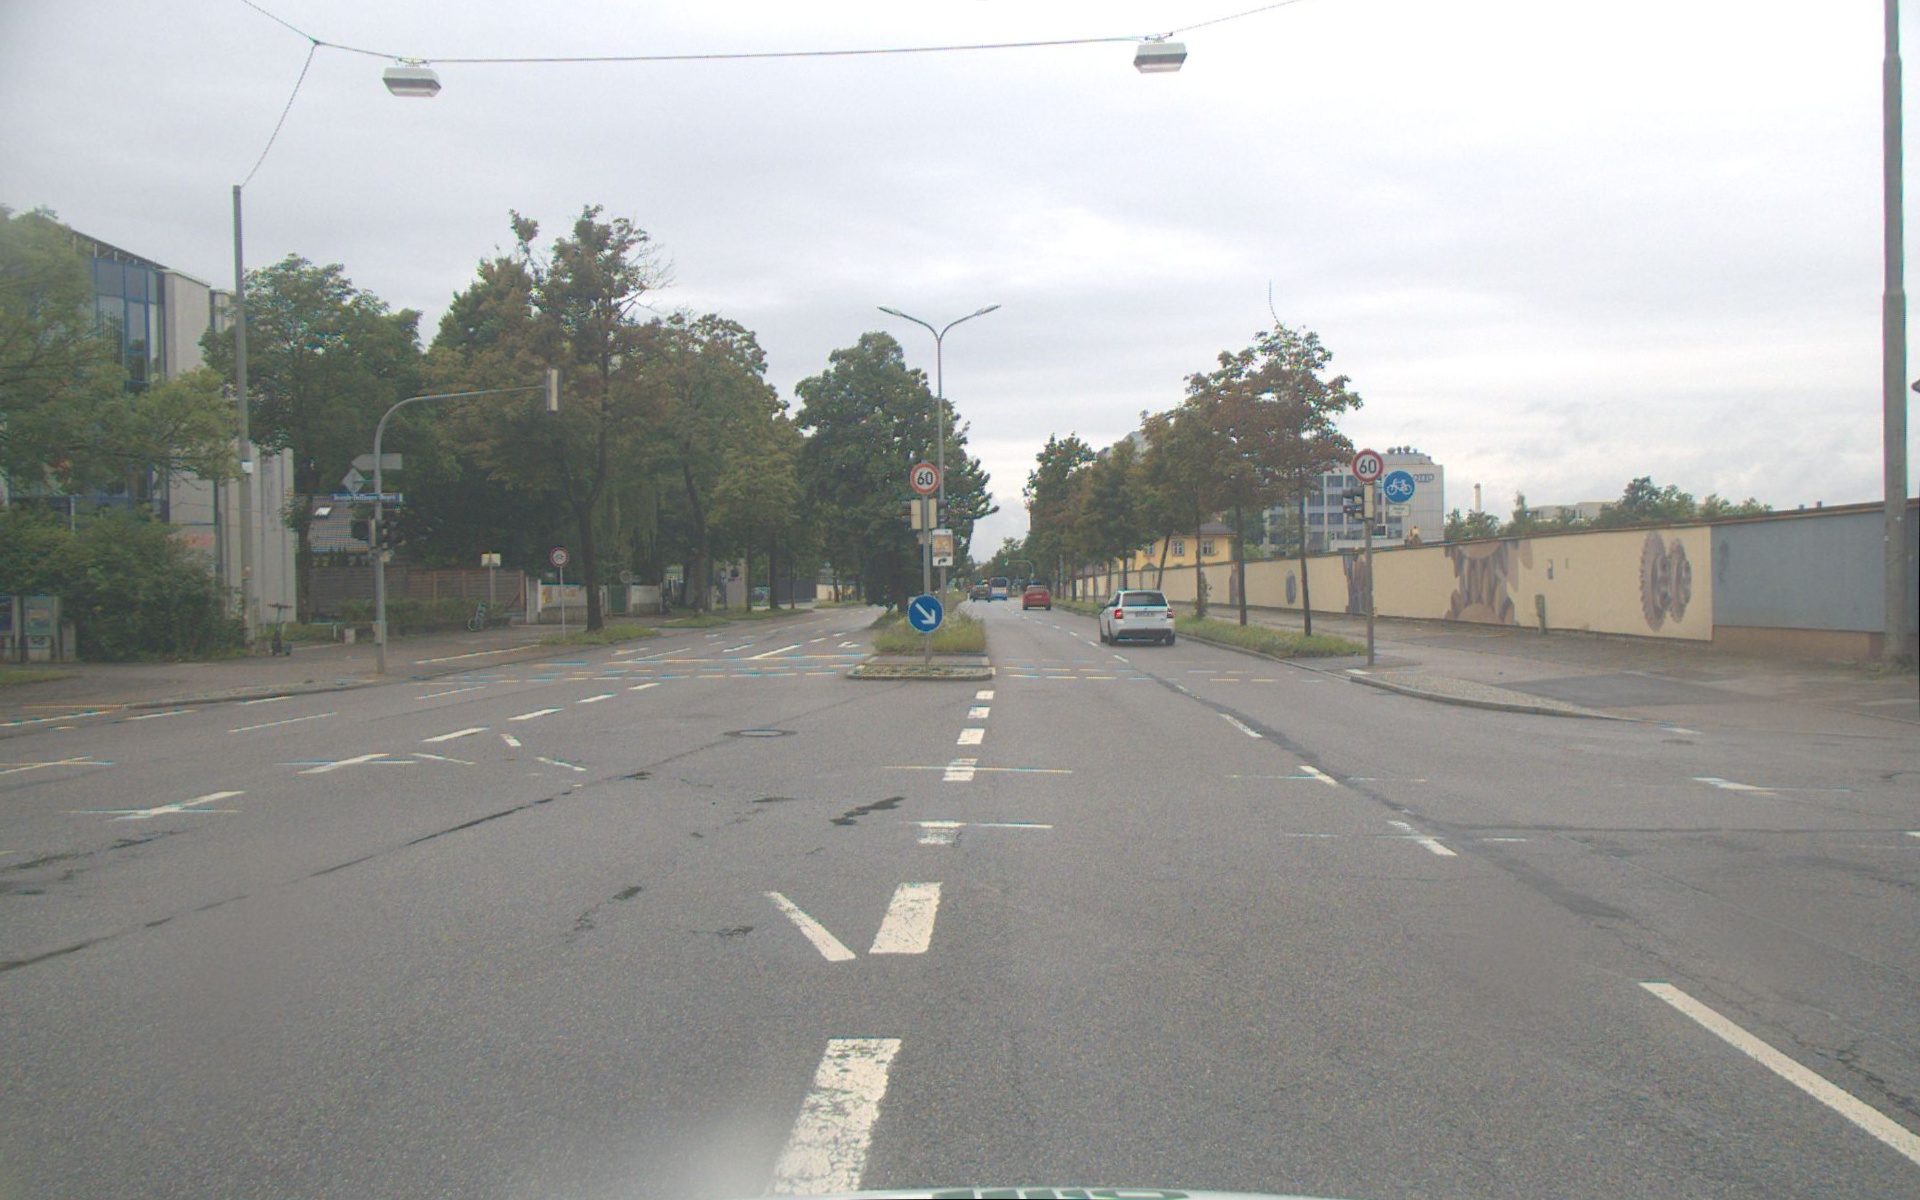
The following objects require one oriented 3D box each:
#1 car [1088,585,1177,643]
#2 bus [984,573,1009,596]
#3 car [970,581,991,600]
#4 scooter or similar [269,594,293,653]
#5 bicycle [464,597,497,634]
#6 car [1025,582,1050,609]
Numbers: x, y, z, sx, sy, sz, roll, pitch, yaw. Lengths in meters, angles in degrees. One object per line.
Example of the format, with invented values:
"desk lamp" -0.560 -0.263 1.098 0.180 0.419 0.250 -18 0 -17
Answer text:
"car" 4.581 0.339 44.550 1.840 1.493 4.501 0 0 -1
"bus" 5.226 -2.161 235.424 3.155 3.181 10.343 0 0 -1
"car" 2.098 -0.978 169.467 2.042 1.898 4.385 0 0 -1
"scooter or similar" -17.000 0.583 41.415 0.364 1.449 1.400 0 0 -15
"bicycle" -17.571 0.559 60.685 0.570 1.318 2.453 0 0 -2
"car" 5.130 -0.304 109.737 1.454 1.745 3.550 0 0 -1
